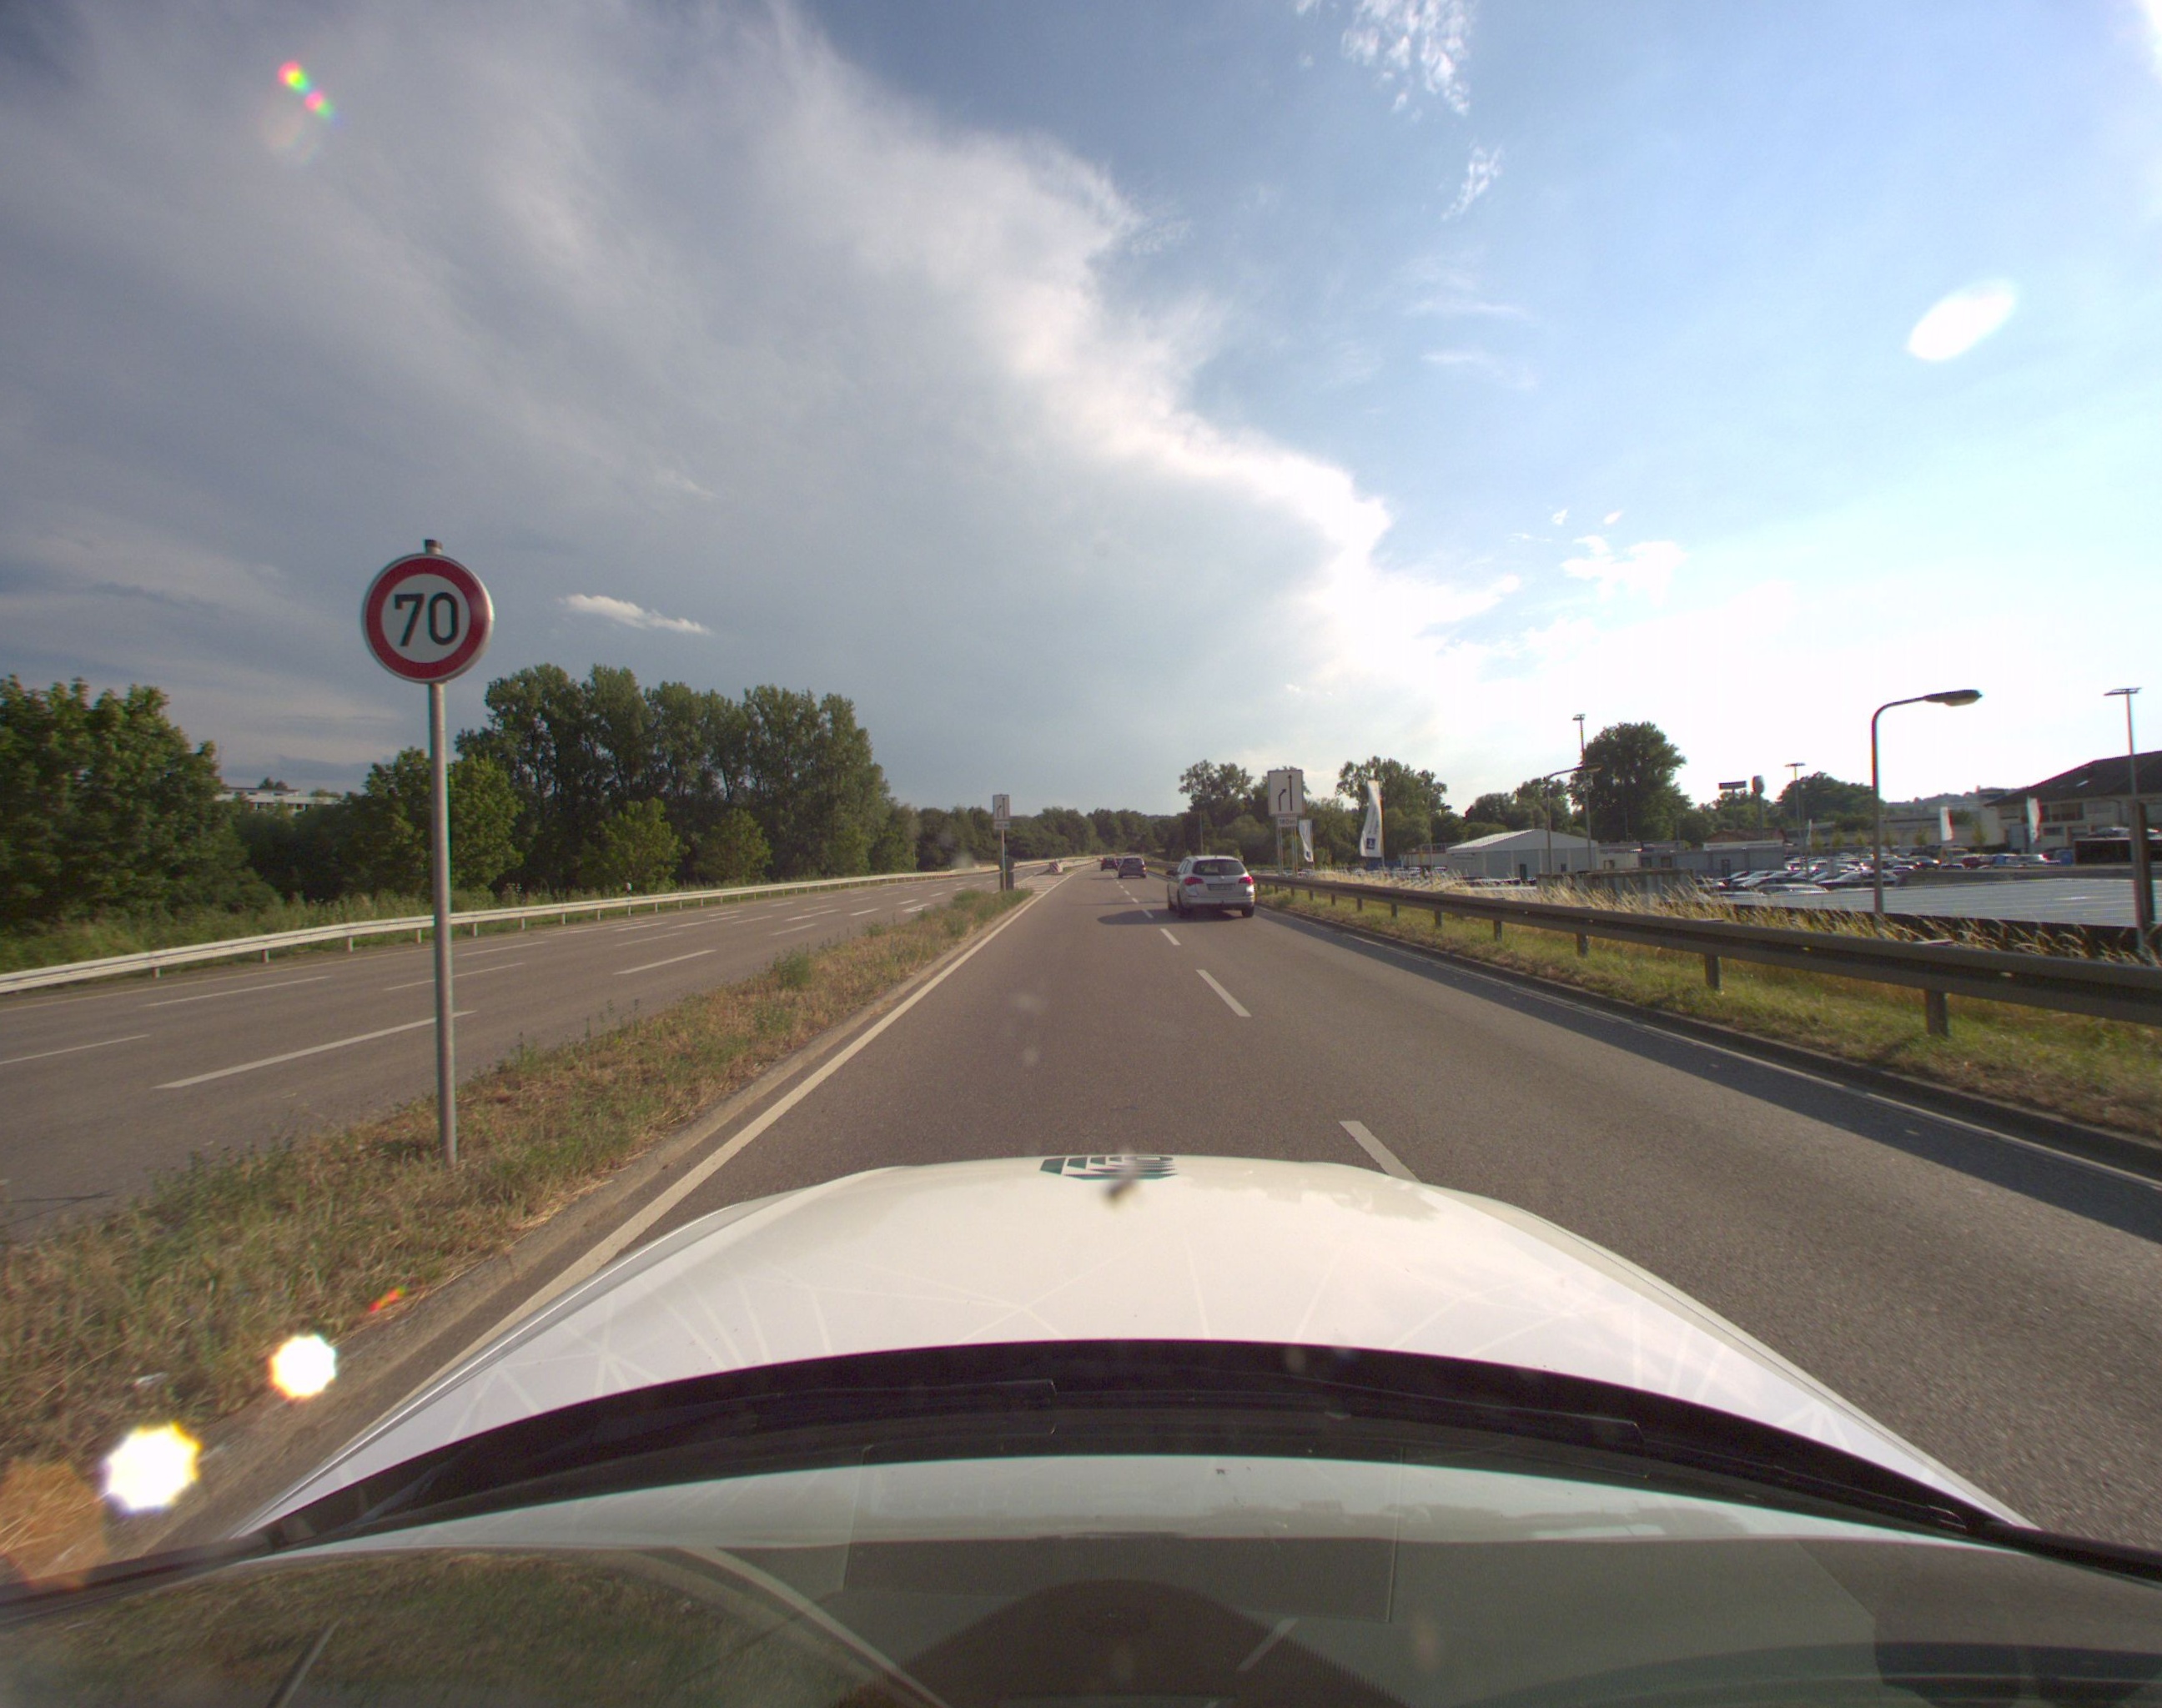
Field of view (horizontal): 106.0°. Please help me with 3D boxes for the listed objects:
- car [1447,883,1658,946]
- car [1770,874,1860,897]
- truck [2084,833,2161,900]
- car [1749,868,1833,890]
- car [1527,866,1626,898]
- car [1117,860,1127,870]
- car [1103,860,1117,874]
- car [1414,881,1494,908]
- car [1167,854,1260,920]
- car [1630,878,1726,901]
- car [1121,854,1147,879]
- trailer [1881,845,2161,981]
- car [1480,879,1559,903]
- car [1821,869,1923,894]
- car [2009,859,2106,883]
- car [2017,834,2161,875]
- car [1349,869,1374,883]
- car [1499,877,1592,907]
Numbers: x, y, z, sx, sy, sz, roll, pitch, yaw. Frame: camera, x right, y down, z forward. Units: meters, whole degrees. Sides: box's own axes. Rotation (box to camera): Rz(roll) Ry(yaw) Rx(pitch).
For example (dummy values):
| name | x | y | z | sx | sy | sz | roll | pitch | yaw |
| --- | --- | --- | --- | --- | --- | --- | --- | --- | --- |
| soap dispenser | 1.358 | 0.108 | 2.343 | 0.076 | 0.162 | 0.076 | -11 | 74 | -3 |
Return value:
| name | x | y | z | sx | sy | sz | roll | pitch | yaw |
| --- | --- | --- | --- | --- | --- | --- | --- | --- | --- |
| car | 15.743 | 2.014 | 27.452 | 5.854 | 2.014 | 2.002 | 0 | -1 | 4 |
| car | 50.966 | 2.197 | 56.613 | 4.301 | 1.543 | 1.807 | -1 | -1 | 13 |
| truck | 39.432 | 0.418 | 28.339 | 1.984 | 2.370 | 5.978 | 0 | -1 | 5 |
| car | 51.711 | 1.821 | 59.397 | 4.301 | 1.543 | 1.807 | -1 | -1 | 13 |
| car | 27.803 | 1.561 | 45.820 | 4.392 | 1.714 | 1.805 | -1 | -2 | 9 |
| car | 6.006 | 1.639 | 119.604 | 1.486 | 1.476 | 3.360 | 0 | -1 | 3 |
| car | 3.016 | 1.350 | 84.406 | 1.486 | 1.476 | 3.360 | 0 | -1 | 3 |
| car | 22.258 | 2.412 | 48.731 | 3.953 | 1.543 | 1.790 | 0 | -1 | 5 |
| car | 3.195 | 0.785 | 20.408 | 1.802 | 1.486 | 4.001 | 0 | -1 | 2 |
| car | 36.416 | 2.153 | 49.772 | 4.392 | 1.369 | 1.805 | -1 | -1 | 9 |
| car | 3.448 | 0.823 | 53.527 | 1.660 | 1.574 | 4.002 | 0 | -1 | 3 |
| trailer | 26.914 | 1.471 | 21.509 | 7.839 | 3.323 | 3.364 | -1 | -1 | 6 |
| car | 29.804 | 2.516 | 55.479 | 4.392 | 1.543 | 1.805 | -1 | -1 | 9 |
| car | 49.967 | 1.713 | 51.537 | 4.301 | 1.543 | 1.807 | -1 | -1 | 13 |
| car | 70.616 | 1.229 | 58.944 | 1.894 | 1.636 | 4.390 | 1 | -2 | -37 |
| car | 41.159 | 0.066 | 33.284 | 1.588 | 1.543 | 3.898 | -1 | -1 | 7 |
| car | 34.050 | 2.709 | 99.028 | 1.870 | 1.636 | 4.737 | -1 | -1 | 6 |
| car | 27.454 | 2.242 | 48.269 | 4.392 | 1.714 | 1.805 | -1 | -1 | 9 |
